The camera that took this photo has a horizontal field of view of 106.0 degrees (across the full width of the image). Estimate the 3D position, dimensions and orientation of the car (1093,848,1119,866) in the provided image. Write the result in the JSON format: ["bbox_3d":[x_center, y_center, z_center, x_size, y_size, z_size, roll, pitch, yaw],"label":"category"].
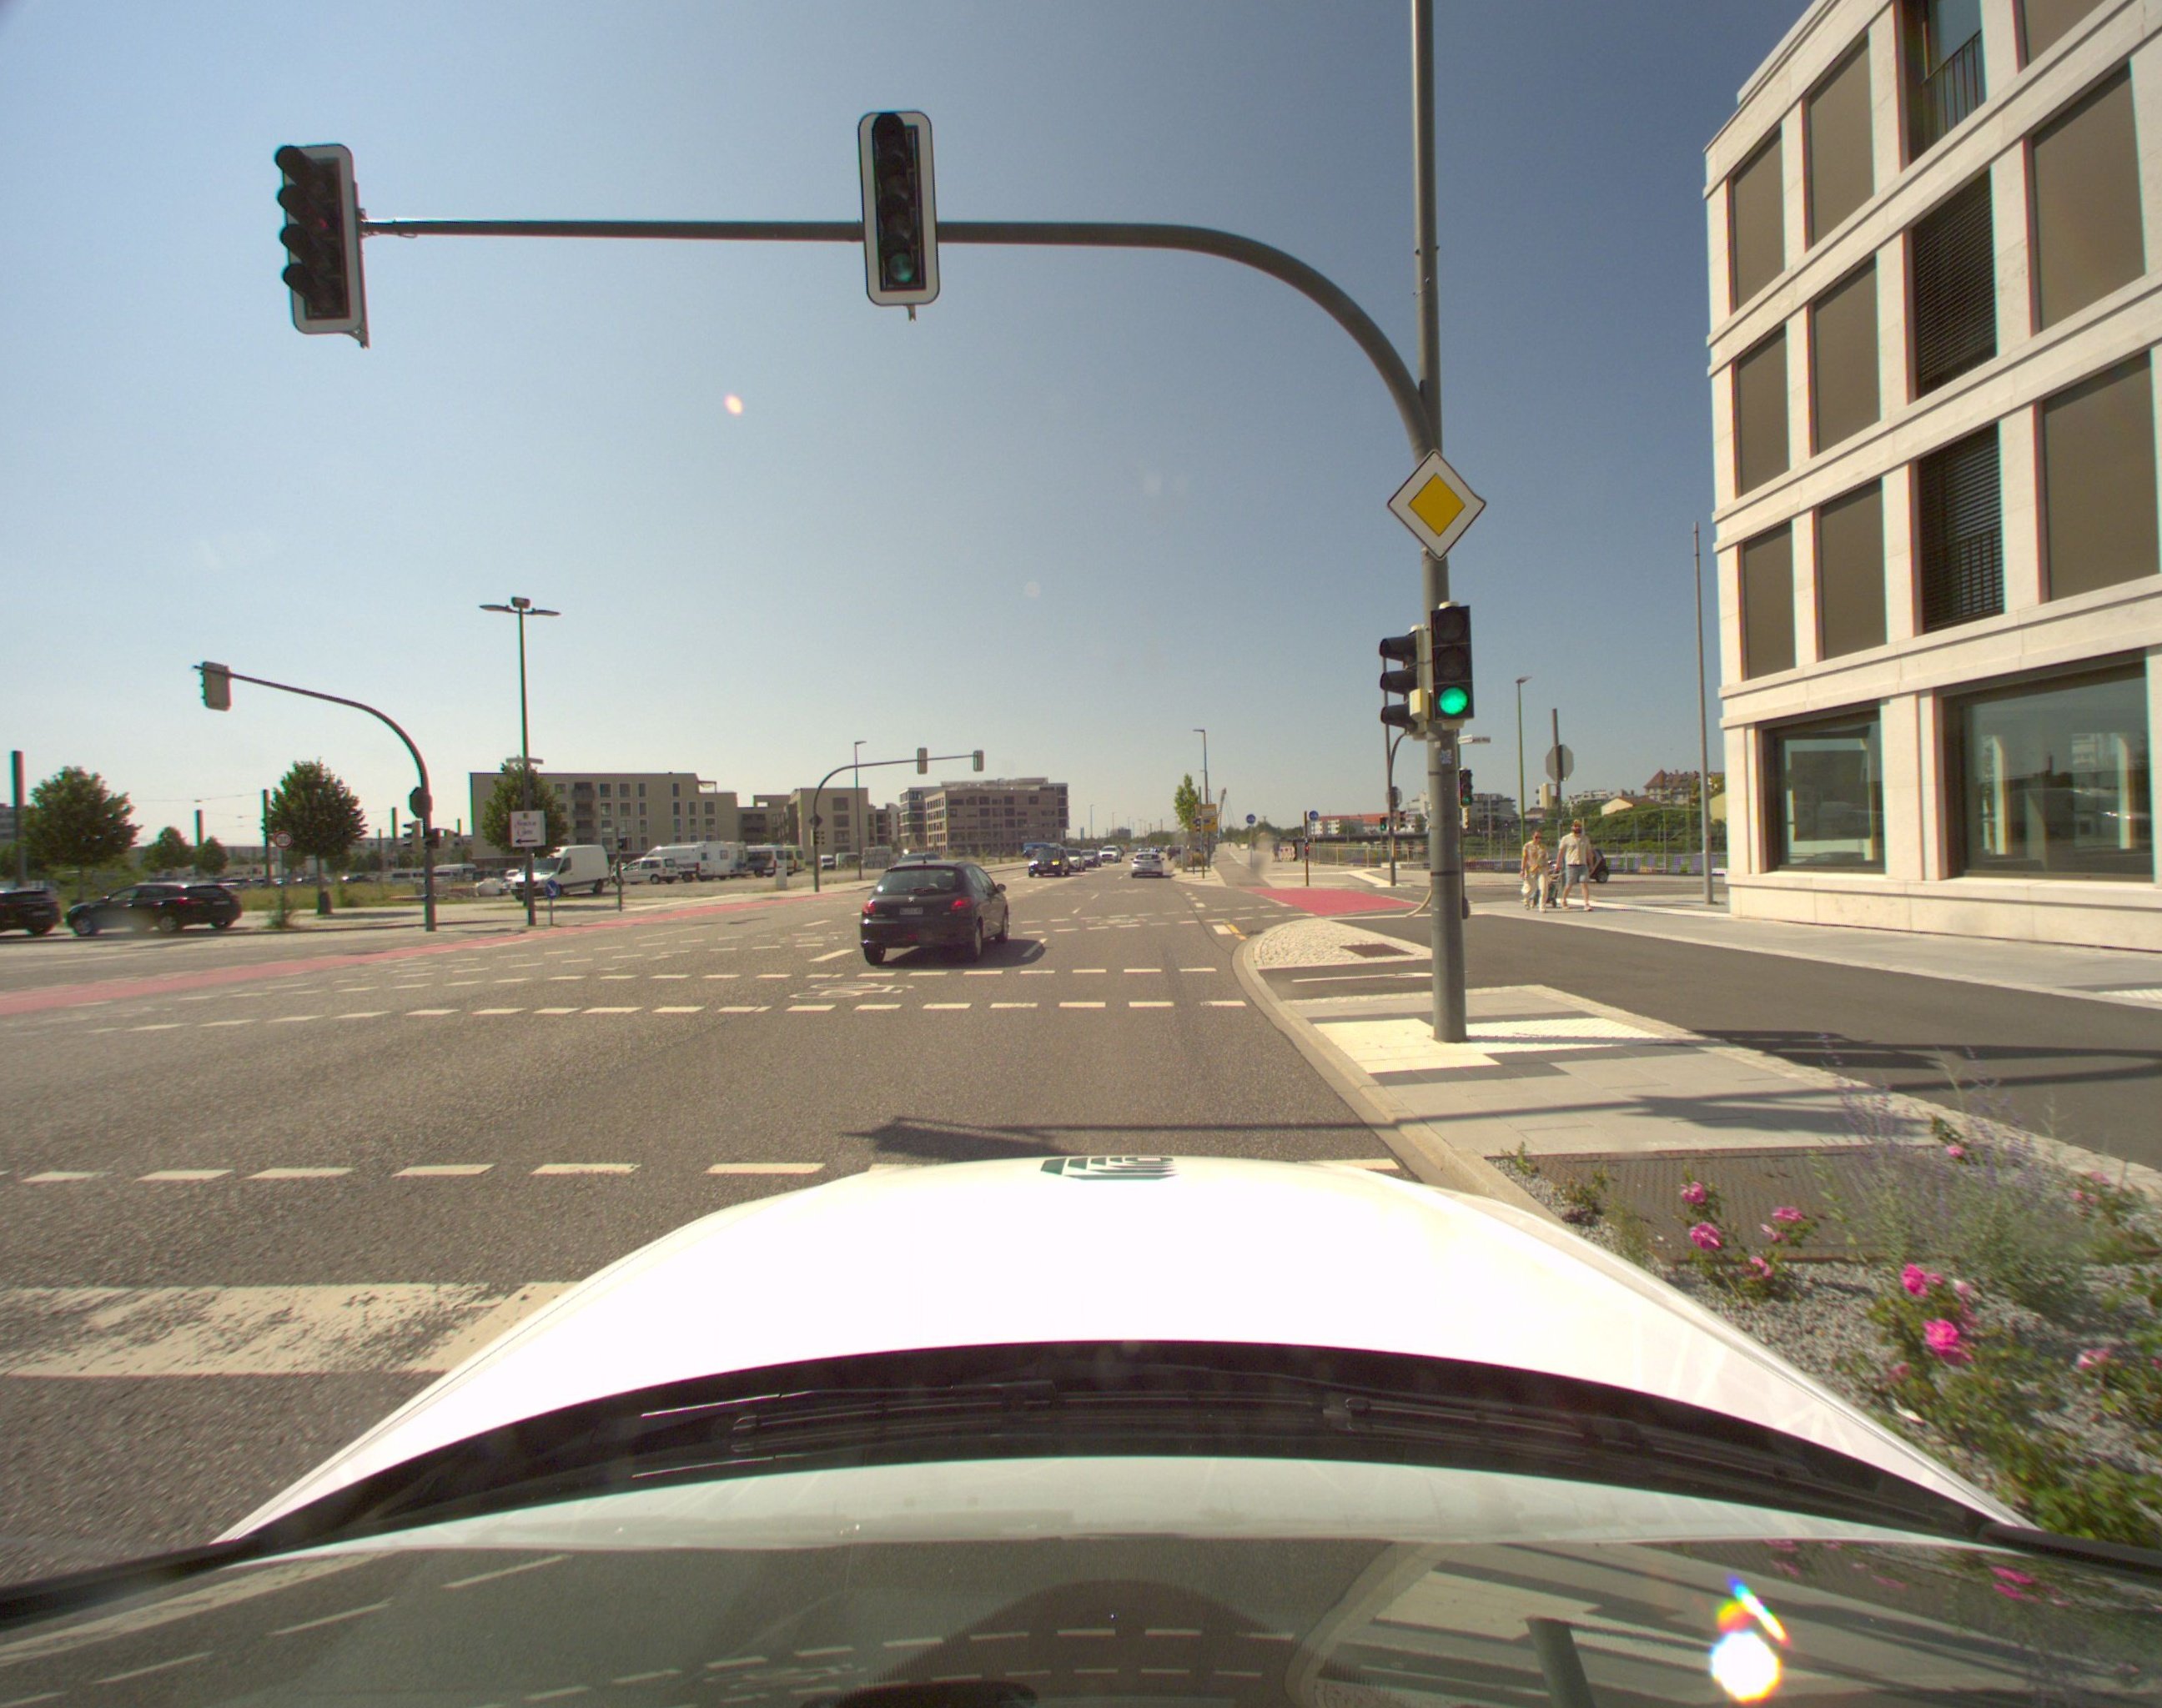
[{"bbox_3d":[2.467,0.254,79.055,1.901,1.649,4.743,-2,0,10],"label":"car"}]

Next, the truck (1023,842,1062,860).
[{"bbox_3d":[-6.357,-0.483,133.374,5.975,2.543,2.279,-3,0,5],"label":"truck"}]

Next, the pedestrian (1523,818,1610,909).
[{"bbox_3d":[10.283,0.188,17.330,0.874,1.826,1.666,-1,0,2],"label":"pedestrian"}]

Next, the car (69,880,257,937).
[{"bbox_3d":[-31.269,1.822,27.855,3.982,1.640,1.877,-2,0,-6],"label":"car"}]

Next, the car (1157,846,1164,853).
[{"bbox_3d":[19.291,-1.095,197.119,1.571,1.563,3.679,-1,0,6],"label":"car"}]

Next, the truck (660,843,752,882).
[{"bbox_3d":[-29.158,0.676,63.430,6.107,2.901,2.577,0,-1,10],"label":"truck"}]

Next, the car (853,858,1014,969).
[{"bbox_3d":[-2.127,0.811,12.743,1.612,1.416,3.730,-1,0,3],"label":"car"}]

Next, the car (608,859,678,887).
[{"bbox_3d":[-29.815,1.268,55.442,3.847,1.758,1.660,-1,1,5],"label":"car"}]

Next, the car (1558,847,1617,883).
[{"bbox_3d":[21.995,0.451,35.317,1.441,1.464,3.388,-1,-1,45],"label":"car"}]

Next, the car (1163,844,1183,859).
[{"bbox_3d":[9.660,-0.243,85.290,1.767,1.569,4.012,-1,-1,11],"label":"car"}]

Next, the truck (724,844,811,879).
[{"bbox_3d":[-27.492,0.631,71.473,6.597,2.825,2.609,-1,1,8],"label":"truck"}]

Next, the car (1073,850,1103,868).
[{"bbox_3d":[0.631,0.427,67.964,1.775,1.421,4.293,-3,-1,9],"label":"car"}]

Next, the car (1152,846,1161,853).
[{"bbox_3d":[16.421,-0.928,176.997,1.785,1.416,4.006,-1,0,6],"label":"car"}]

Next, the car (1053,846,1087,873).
[{"bbox_3d":[-0.768,0.388,58.548,1.769,1.682,4.107,-4,1,7],"label":"car"}]

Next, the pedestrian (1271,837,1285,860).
[{"bbox_3d":[14.040,-0.406,58.008,0.746,1.609,0.951,-5,0,9],"label":"pedestrian"}]

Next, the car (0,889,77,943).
[{"bbox_3d":[-36.761,2.096,27.113,3.982,1.640,1.877,-2,0,-6],"label":"car"}]

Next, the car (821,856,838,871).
[{"bbox_3d":[-39.666,1.472,128.394,2.004,2.240,3.966,-2,1,-26],"label":"car"}]

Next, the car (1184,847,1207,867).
[{"bbox_3d":[10.063,0.261,71.288,1.861,1.627,4.888,-2,0,9],"label":"car"}]

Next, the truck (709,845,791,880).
[{"bbox_3d":[-27.683,0.739,68.191,5.799,2.824,2.577,0,-1,10],"label":"truck"}]

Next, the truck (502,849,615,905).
[{"bbox_3d":[-26.999,1.105,42.411,2.161,2.655,5.940,-3,0,-3],"label":"truck"}]

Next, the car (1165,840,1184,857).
[{"bbox_3d":[9.806,-0.573,85.523,1.784,1.750,4.007,-2,0,6],"label":"car"}]

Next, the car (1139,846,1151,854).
[{"bbox_3d":[11.885,-0.771,149.948,1.882,1.415,3.607,-1,0,9],"label":"car"}]

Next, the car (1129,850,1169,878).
[{"bbox_3d":[3.955,0.540,46.892,1.766,1.442,4.014,-2,0,12],"label":"car"}]

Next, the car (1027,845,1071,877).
[{"bbox_3d":[-1.891,0.408,49.896,1.929,1.788,4.665,-1,1,7],"label":"car"}]

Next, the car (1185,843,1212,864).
[{"bbox_3d":[9.313,-0.048,64.503,1.982,1.519,4.011,-1,1,9],"label":"car"}]

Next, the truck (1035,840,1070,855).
[{"bbox_3d":[-4.878,-1.125,140.342,5.536,2.362,2.280,-3,0,7],"label":"truck"}]

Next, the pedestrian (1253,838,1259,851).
[{"bbox_3d":[23.006,-1.305,107.251,0.727,1.705,0.653,-1,-1,10],"label":"pedestrian"}]

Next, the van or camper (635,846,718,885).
[{"bbox_3d":[-29.330,0.851,59.148,4.871,2.661,2.266,-1,1,9],"label":"van or camper"}]

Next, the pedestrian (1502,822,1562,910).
[{"bbox_3d":[9.215,0.248,16.664,0.697,1.723,0.797,-3,-1,2],"label":"pedestrian"}]
